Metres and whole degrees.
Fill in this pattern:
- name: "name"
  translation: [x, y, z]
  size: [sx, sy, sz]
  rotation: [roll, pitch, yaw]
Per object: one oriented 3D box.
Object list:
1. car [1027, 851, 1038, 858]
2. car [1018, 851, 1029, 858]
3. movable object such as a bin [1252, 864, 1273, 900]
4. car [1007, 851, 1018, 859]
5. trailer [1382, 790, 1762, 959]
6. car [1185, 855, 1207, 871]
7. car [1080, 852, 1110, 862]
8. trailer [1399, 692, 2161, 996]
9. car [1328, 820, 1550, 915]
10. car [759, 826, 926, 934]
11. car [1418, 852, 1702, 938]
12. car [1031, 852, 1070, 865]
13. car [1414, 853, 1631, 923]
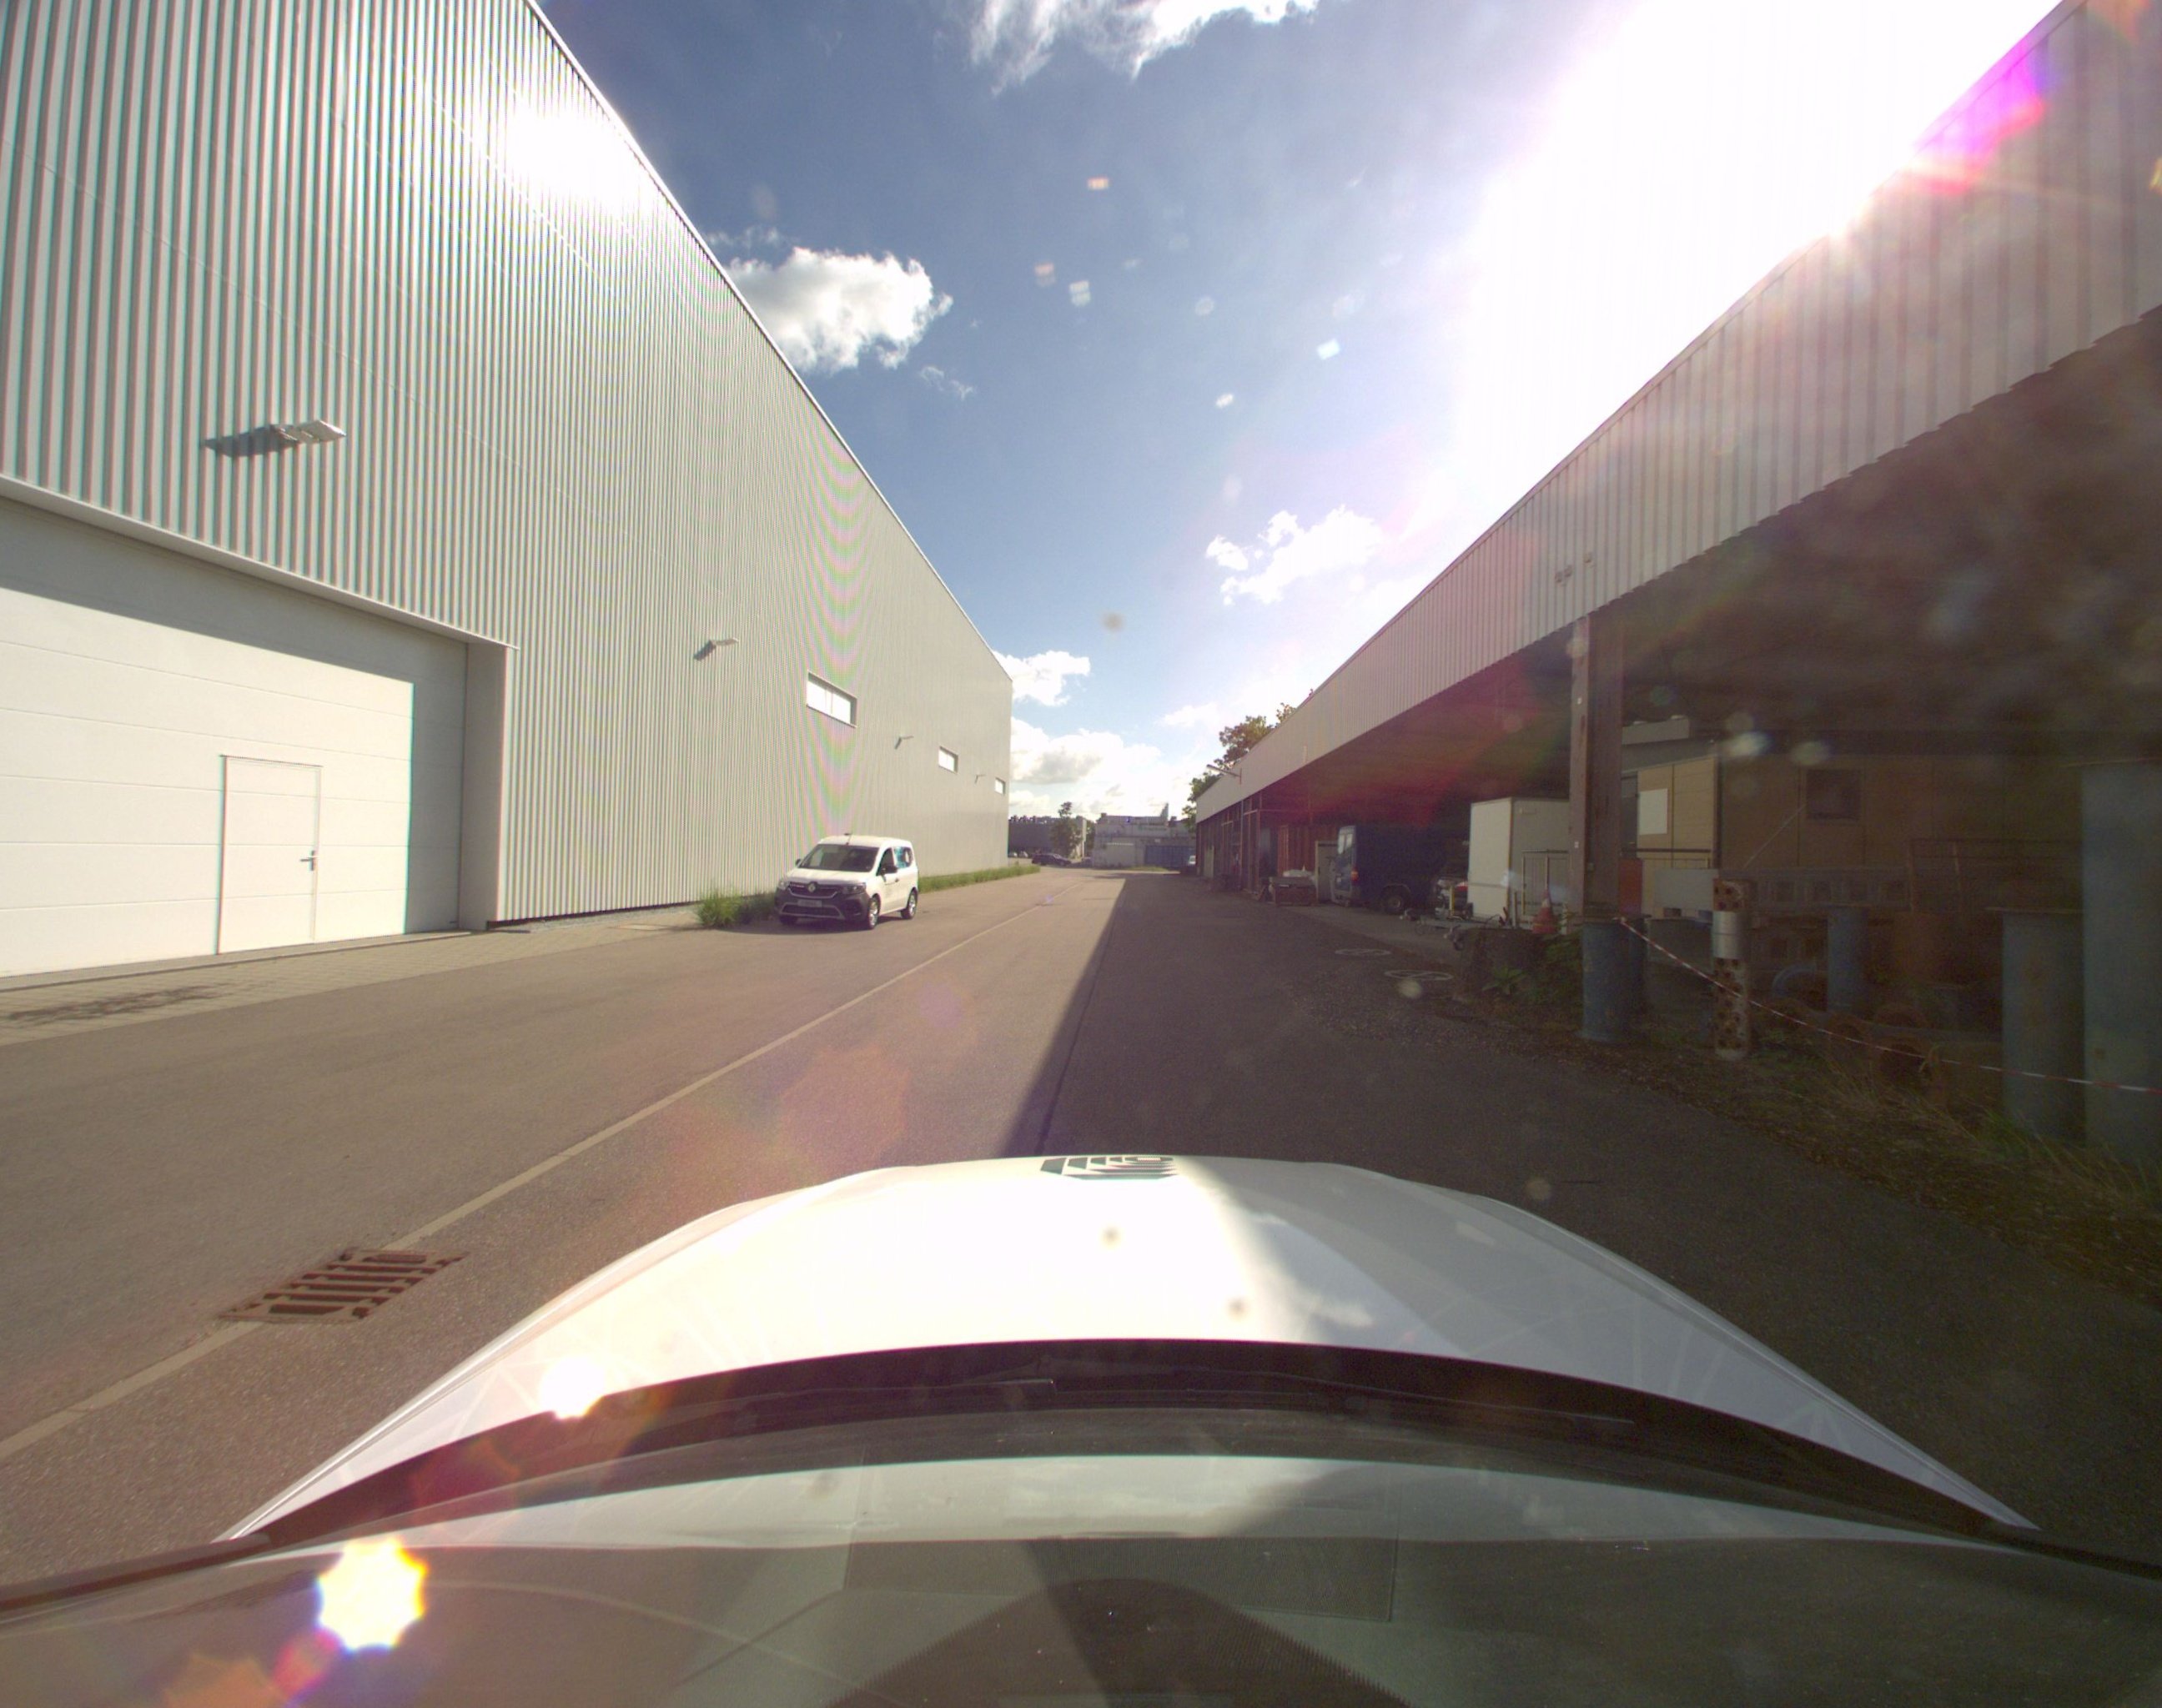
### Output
- name: "car"
  translation: [-11.556, 0.132, 195.230]
  size: [2.184, 1.736, 4.003]
  rotation: [-1, -1, 3]
- name: "car"
  translation: [-13.988, 0.198, 197.067]
  size: [2.184, 1.736, 4.003]
  rotation: [-1, -1, 3]
- name: "movable object such as a bin"
  translation: [6.085, 0.910, 27.286]
  size: [0.578, 1.164, 1.241]
  rotation: [0, 0, 8]
- name: "car"
  translation: [-16.582, 0.249, 196.853]
  size: [1.985, 1.736, 4.003]
  rotation: [-1, -1, 3]
- name: "trailer"
  translation: [7.424, 0.275, 12.776]
  size: [4.785, 2.391, 1.831]
  rotation: [0, 0, 8]
- name: "car"
  translation: [12.066, 0.925, 85.623]
  size: [1.985, 1.585, 4.176]
  rotation: [1, 1, 3]
- name: "car"
  translation: [2.246, 0.418, 126.563]
  size: [4.505, 1.508, 1.911]
  rotation: [1, 0, 4]
- name: "trailer"
  translation: [9.504, -0.117, 10.125]
  size: [9.995, 3.216, 2.856]
  rotation: [0, 0, 3]
- name: "car"
  translation: [9.274, 0.330, 21.437]
  size: [4.957, 2.325, 2.002]
  rotation: [1, 0, 3]
- name: "car"
  translation: [-4.726, 0.472, 16.898]
  size: [1.882, 1.845, 4.362]
  rotation: [3, 0, 3]
- name: "car"
  translation: [8.869, 0.721, 15.349]
  size: [4.313, 1.496, 1.777]
  rotation: [0, 0, 1]
- name: "car"
  translation: [-3.665, 0.566, 99.202]
  size: [4.504, 1.508, 1.911]
  rotation: [0, 0, 5]
- name: "car"
  translation: [9.879, 0.740, 18.434]
  size: [3.975, 1.472, 1.787]
  rotation: [0, 0, -1]
